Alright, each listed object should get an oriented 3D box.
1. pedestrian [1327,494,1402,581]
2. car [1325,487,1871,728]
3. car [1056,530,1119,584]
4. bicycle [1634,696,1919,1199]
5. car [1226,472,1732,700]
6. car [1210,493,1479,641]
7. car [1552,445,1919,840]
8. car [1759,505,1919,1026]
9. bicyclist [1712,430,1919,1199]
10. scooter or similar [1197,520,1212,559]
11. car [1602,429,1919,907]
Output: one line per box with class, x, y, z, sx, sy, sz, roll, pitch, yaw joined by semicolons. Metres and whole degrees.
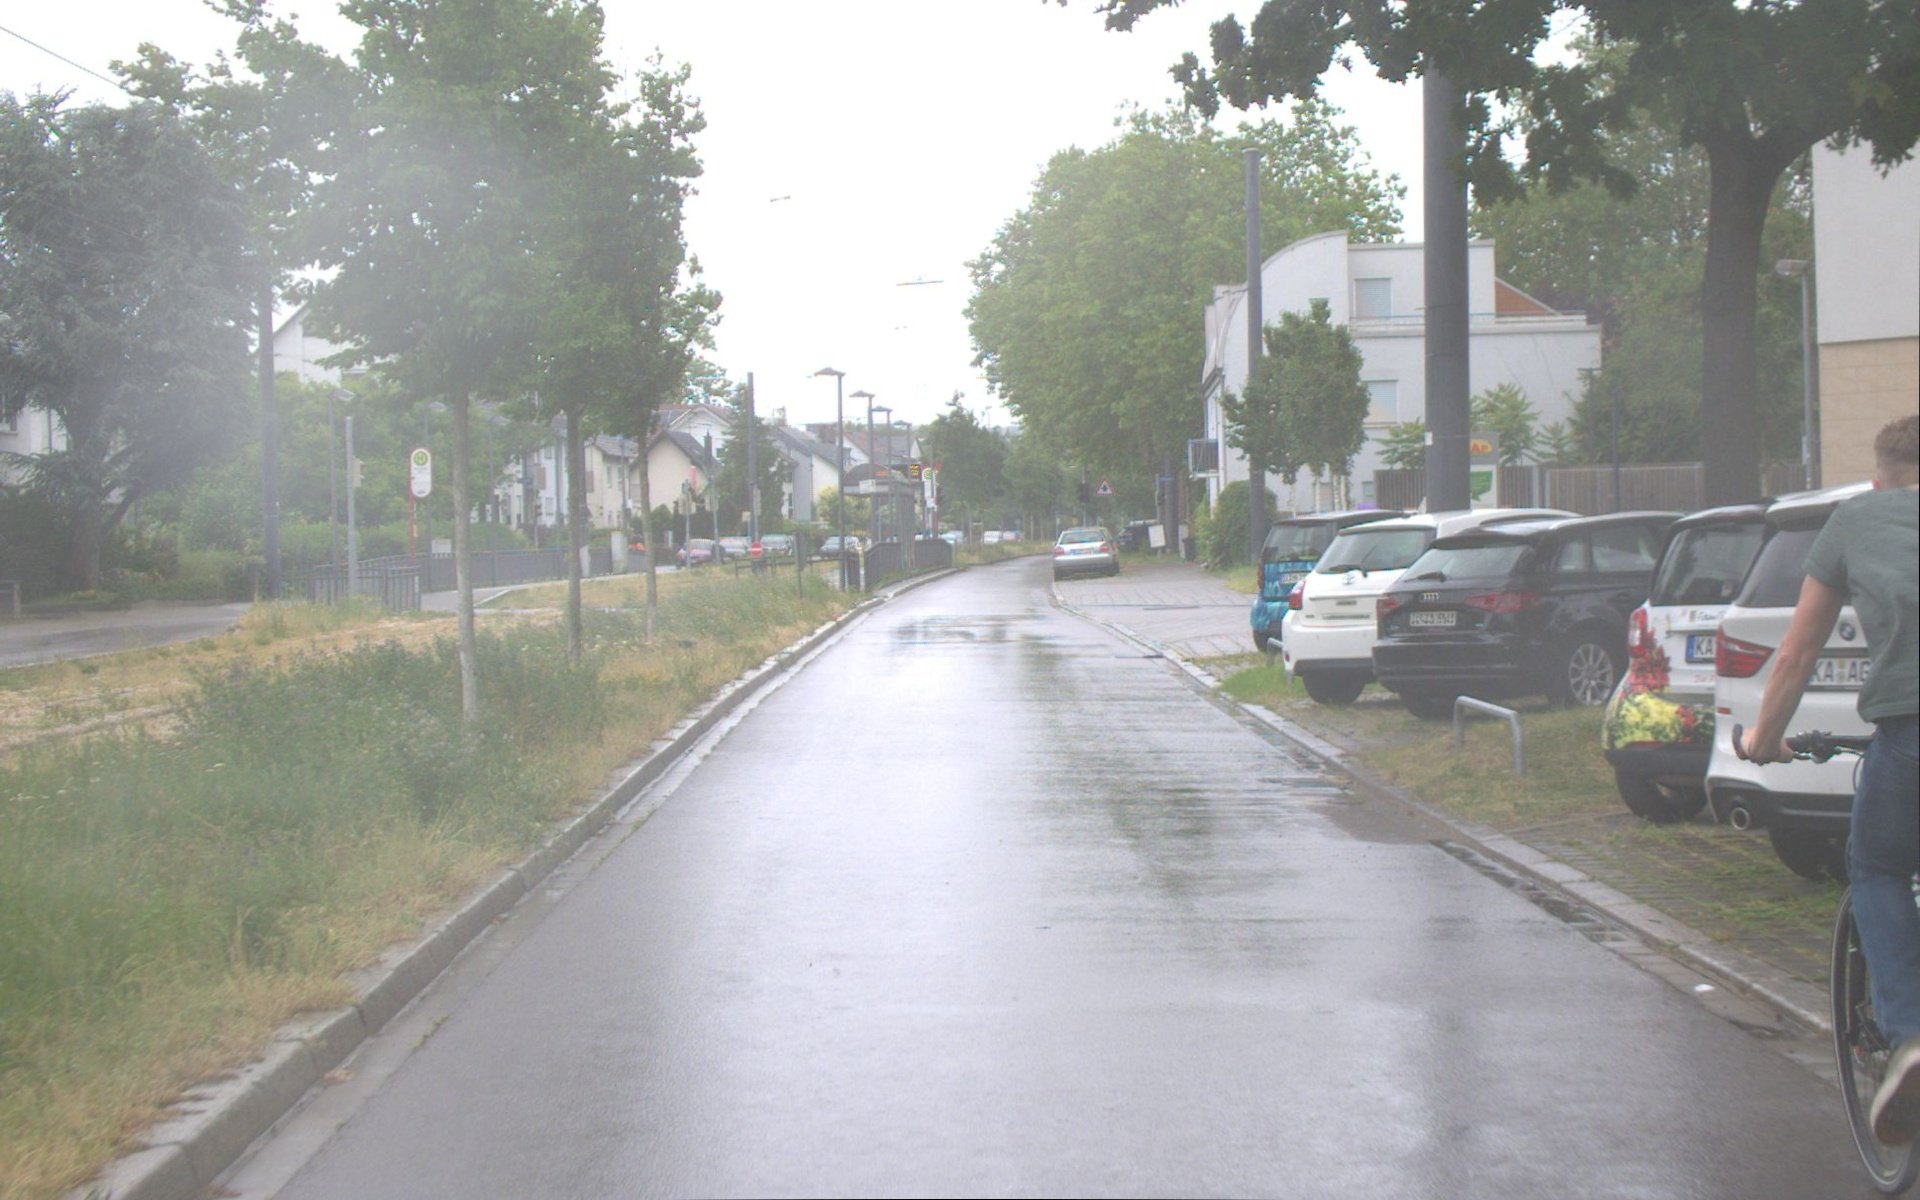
pedestrian;7.153;-1.098;60.768;0.835;1.512;1.095;0;0;-29
car;4.759;0.018;25.432;3.933;1.426;1.684;-6;3;-37
car;3.678;-1.227;98.701;1.650;1.400;4.649;-4;0;2
bicycle;1.932;0.779;7.082;0.536;1.089;1.949;0;0;-5
car;4.368;-0.151;28.610;4.174;1.542;1.764;-6;3;-40
car;4.273;-0.372;38.116;2.558;1.542;1.602;-2;1;-40
car;5.052;0.067;17.041;4.173;1.666;1.684;-6;3;-37
car;4.646;0.299;10.355;4.447;1.405;1.768;-5;3;-34
bicyclist;1.922;0.445;7.016;0.534;1.554;0.773;0;0;-6
scooter or similar;6.896;-1.702;96.796;0.333;1.081;1.395;0;0;7
car;4.798;0.090;13.905;4.448;1.666;1.812;-6;3;-39
